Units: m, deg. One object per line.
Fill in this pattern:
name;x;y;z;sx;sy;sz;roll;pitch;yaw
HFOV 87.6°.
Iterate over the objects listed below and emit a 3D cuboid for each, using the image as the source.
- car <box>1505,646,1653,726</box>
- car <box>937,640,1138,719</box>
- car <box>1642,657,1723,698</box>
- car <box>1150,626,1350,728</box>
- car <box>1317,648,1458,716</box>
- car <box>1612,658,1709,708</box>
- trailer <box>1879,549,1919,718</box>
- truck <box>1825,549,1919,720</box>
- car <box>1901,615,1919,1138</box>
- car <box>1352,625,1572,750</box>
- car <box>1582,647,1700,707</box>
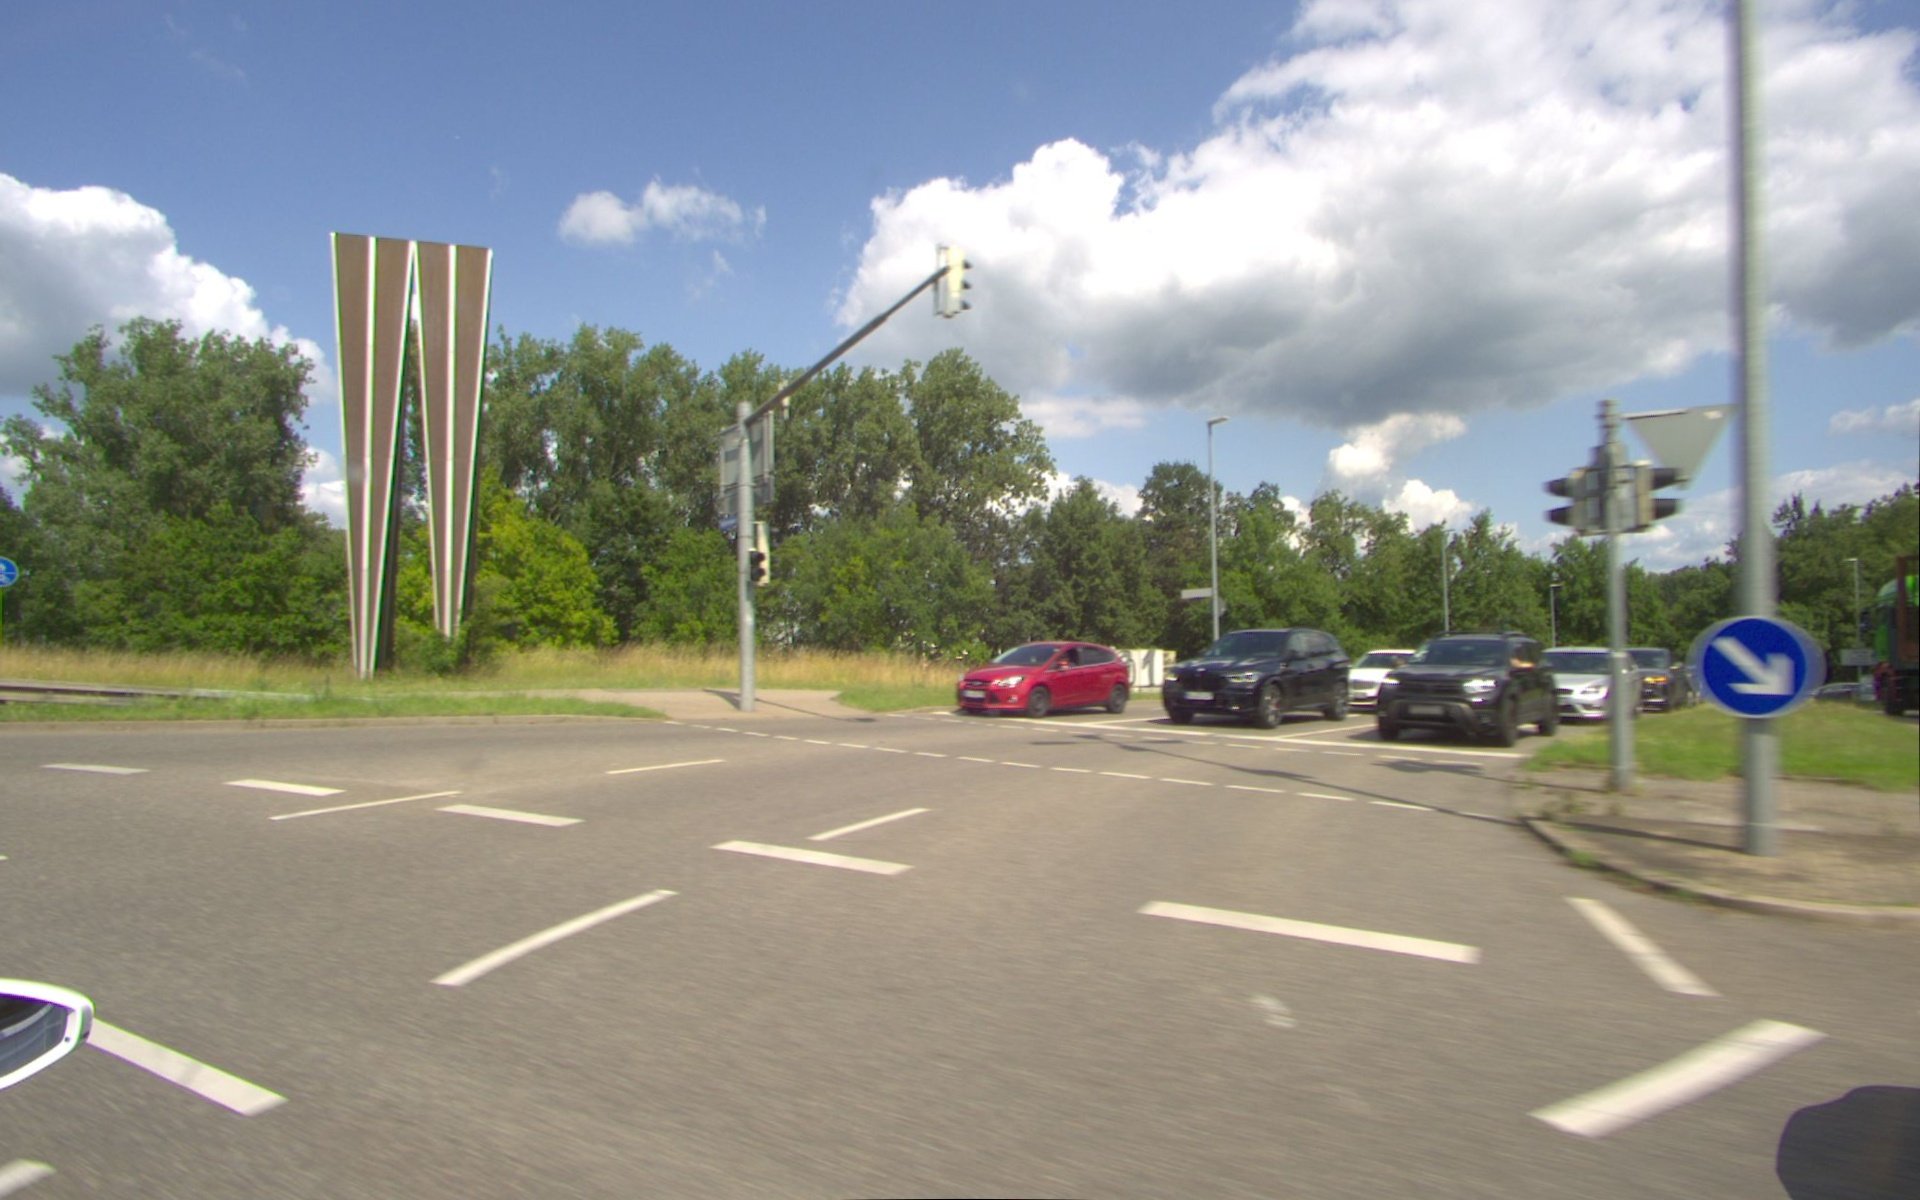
car;12.441;1.658;20.010;1.629;1.393;4.504;-1;-3;44
car;1.636;1.526;19.900;1.741;1.393;4.180;-1;-3;44
car;26.288;2.775;36.397;1.861;1.393;4.015;-1;-3;44
car;5.426;1.360;18.407;1.819;1.666;4.180;-1;-3;44
car;9.896;1.838;23.013;1.629;1.393;4.180;-1;-3;44
car;21.506;2.490;30.674;1.861;1.393;4.015;-1;-3;44
trailer;22.075;0.410;17.945;2.600;3.938;13.840;0;-4;18
truck;24.240;0.917;24.466;2.829;3.951;5.869;0;-4;22
car;4.009;0.682;0.899;4.309;1.453;1.787;-2;-2;33
car;7.766;1.281;15.305;1.826;1.636;4.258;-3;-5;44
car;17.453;1.931;25.599;1.861;1.393;4.015;-1;-3;44
